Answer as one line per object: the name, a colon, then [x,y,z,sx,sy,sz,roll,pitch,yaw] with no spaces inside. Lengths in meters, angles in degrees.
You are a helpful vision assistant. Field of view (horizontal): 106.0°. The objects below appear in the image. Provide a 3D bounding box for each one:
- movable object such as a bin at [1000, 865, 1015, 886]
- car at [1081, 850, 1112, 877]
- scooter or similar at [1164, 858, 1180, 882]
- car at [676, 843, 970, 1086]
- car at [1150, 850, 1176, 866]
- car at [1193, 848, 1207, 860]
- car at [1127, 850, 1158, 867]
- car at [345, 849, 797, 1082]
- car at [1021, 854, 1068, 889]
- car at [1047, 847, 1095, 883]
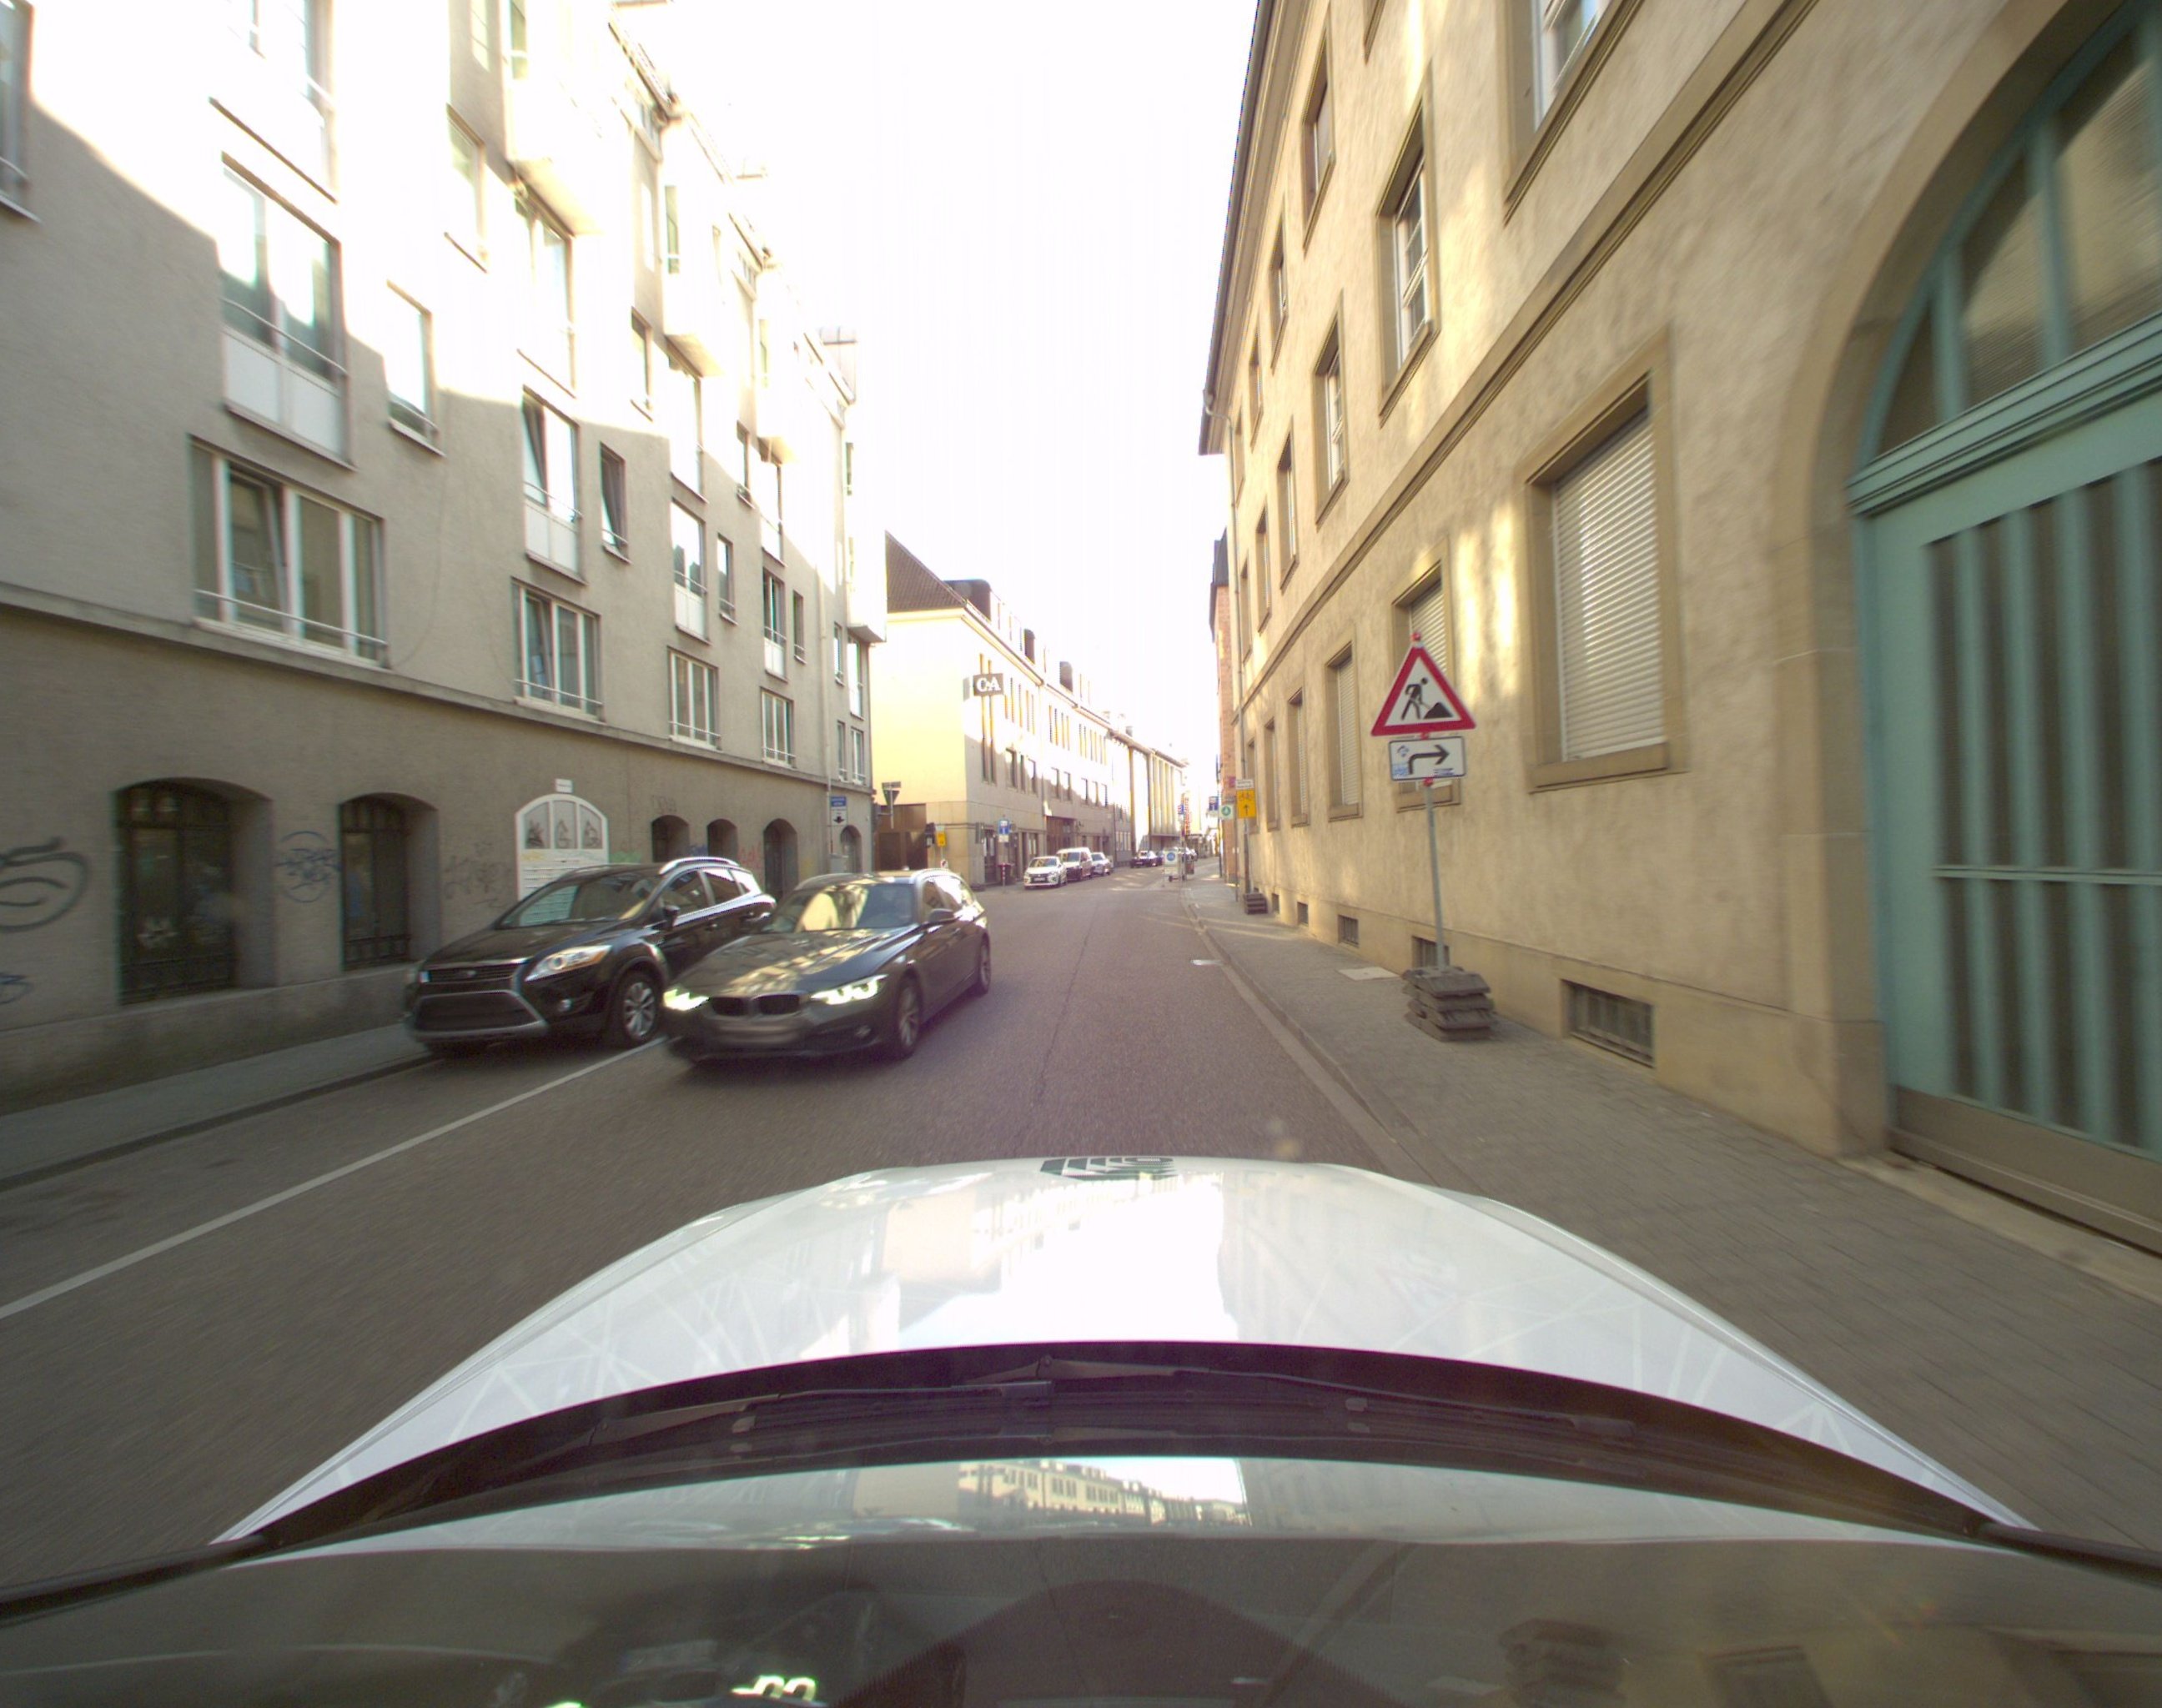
movable object such as a bin: [-3.634,1.062,40.338,0.606,1.060,0.713,1,0,2]
car: [0.993,0.581,50.927,1.263,1.507,3.413,-3,0,11]
scooter or similar: [4.456,0.790,39.885,0.766,1.136,0.270,1,0,7]
car: [-2.039,0.754,7.671,1.712,1.578,4.183,-2,0,-5]
car: [7.824,0.384,77.331,1.711,1.340,4.016,-2,0,15]
car: [15.696,-0.072,107.474,1.329,1.494,3.360,-2,0,15]
car: [5.387,0.401,71.002,1.867,1.332,4.117,-2,0,15]
car: [-4.726,0.865,8.459,1.732,1.711,4.195,-4,0,4]
car: [-1.701,0.801,39.032,1.662,1.507,3.800,-3,0,5]
car: [-0.509,0.560,44.831,1.660,1.818,4.565,-3,0,10]
